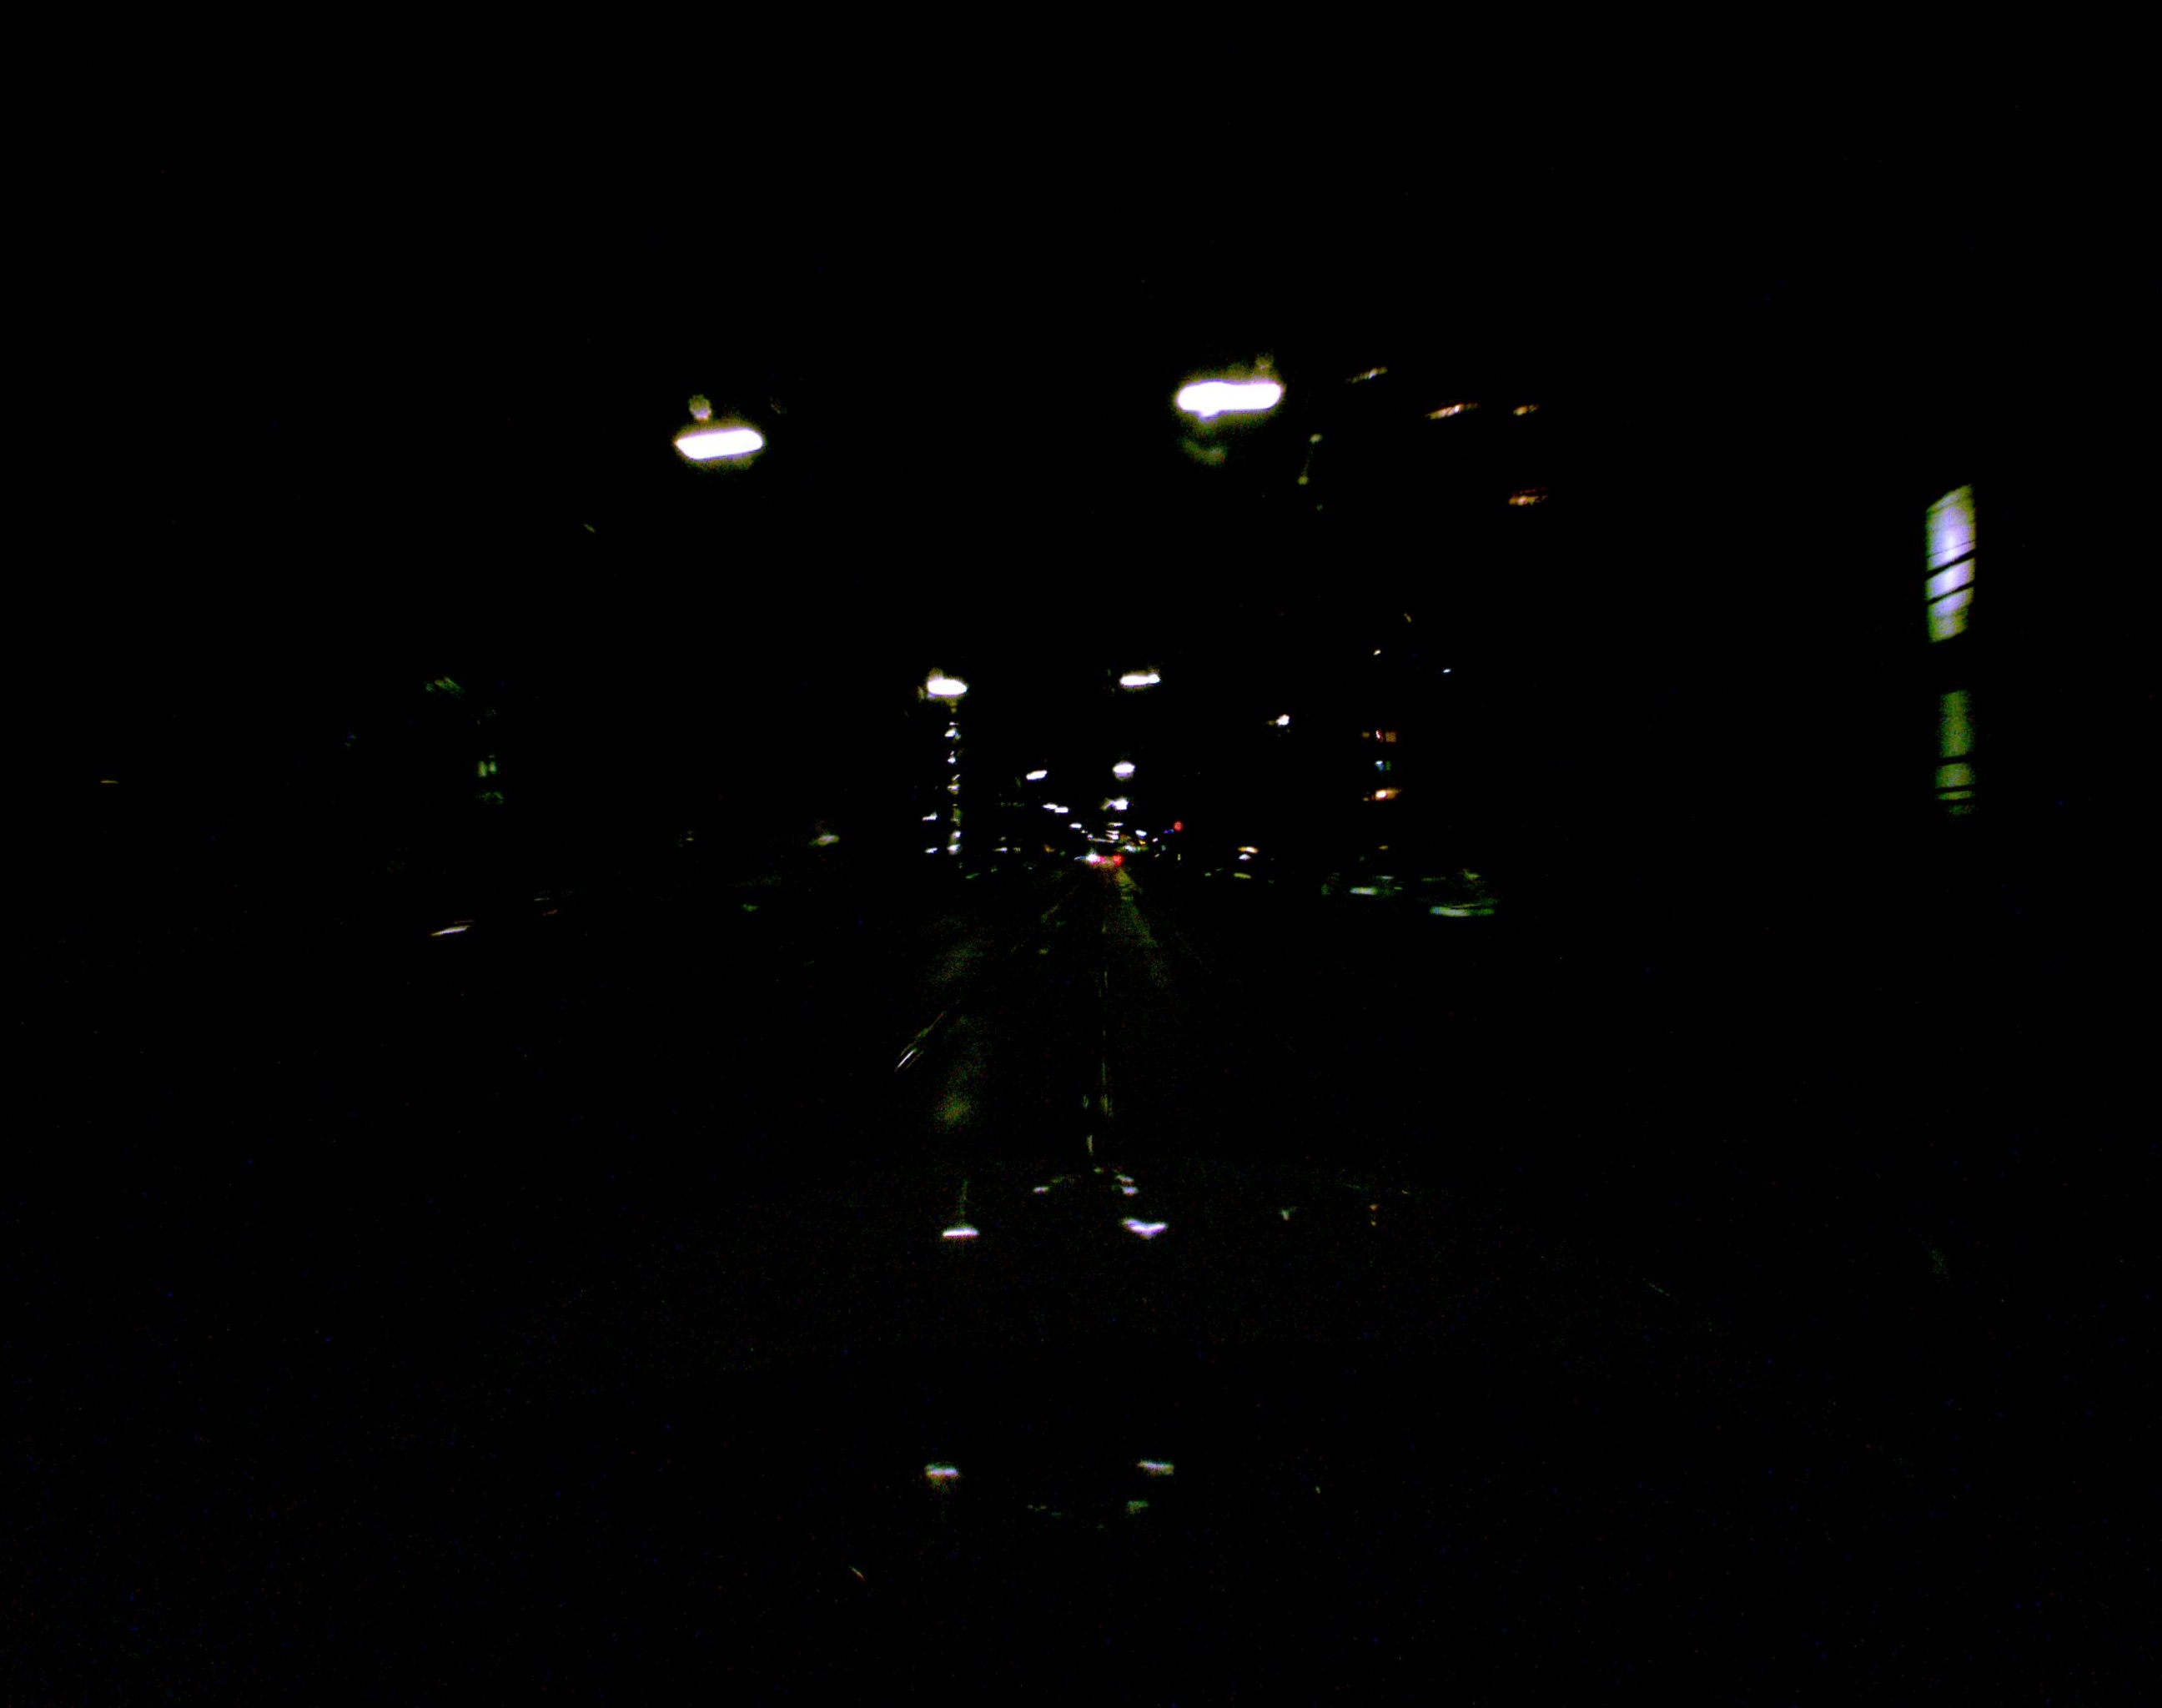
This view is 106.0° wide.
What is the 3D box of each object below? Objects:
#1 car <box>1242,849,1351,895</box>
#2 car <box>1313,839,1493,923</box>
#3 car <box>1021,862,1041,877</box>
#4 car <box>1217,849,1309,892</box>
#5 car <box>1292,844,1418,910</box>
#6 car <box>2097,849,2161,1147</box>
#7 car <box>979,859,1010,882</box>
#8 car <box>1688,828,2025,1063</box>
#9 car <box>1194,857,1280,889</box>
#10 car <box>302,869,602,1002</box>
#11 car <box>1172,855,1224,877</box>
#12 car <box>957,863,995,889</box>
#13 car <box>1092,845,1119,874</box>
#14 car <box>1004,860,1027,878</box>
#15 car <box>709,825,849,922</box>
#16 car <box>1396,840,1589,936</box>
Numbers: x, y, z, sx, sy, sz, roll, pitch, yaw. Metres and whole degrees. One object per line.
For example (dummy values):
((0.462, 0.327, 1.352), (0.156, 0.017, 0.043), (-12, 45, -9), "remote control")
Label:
((7.258, 0.556, 27.219), (3.848, 1.430, 1.618), (0, 0, -40), "car")
((6.668, 0.483, 16.704), (3.909, 1.533, 1.800), (0, 0, -40), "car")
((-5.953, 1.890, 97.613), (2.015, 1.761, 4.001), (1, -1, 1), "car")
((7.506, 0.644, 33.451), (2.030, 1.623, 3.851), (0, -1, 43), "car")
((7.185, 0.537, 21.170), (1.682, 1.533, 3.774), (2, 1, 43), "car")
((6.768, 0.660, 4.193), (3.350, 1.385, 1.614), (0, 0, -33), "car")
((-7.053, 1.310, 66.508), (1.992, 1.785, 4.001), (1, -1, 1), "car")
((6.749, 0.519, 7.250), (1.671, 1.404, 4.485), (-1, 2, 43), "car")
((7.595, 0.881, 39.473), (4.271, 1.454, 1.927), (0, 0, -43), "car")
((-9.024, 1.063, 12.123), (1.636, 1.507, 3.618), (0, 2, -1), "car")
((8.505, 0.857, 59.125), (1.886, 1.572, 3.987), (0, 0, 40), "car")
((-7.461, 1.514, 58.093), (2.102, 1.765, 4.963), (1, -1, -1), "car")
((2.169, 0.483, 72.912), (2.210, 2.441, 5.383), (-1, 0, 0), "car")
((-6.900, 1.583, 86.222), (2.015, 1.761, 4.001), (1, -1, 1), "car")
((-8.615, 0.501, 23.875), (2.019, 2.499, 5.605), (1, 0, -1), "car")
((7.185, 0.515, 14.066), (3.878, 1.433, 1.799), (0, -1, -44), "car")
